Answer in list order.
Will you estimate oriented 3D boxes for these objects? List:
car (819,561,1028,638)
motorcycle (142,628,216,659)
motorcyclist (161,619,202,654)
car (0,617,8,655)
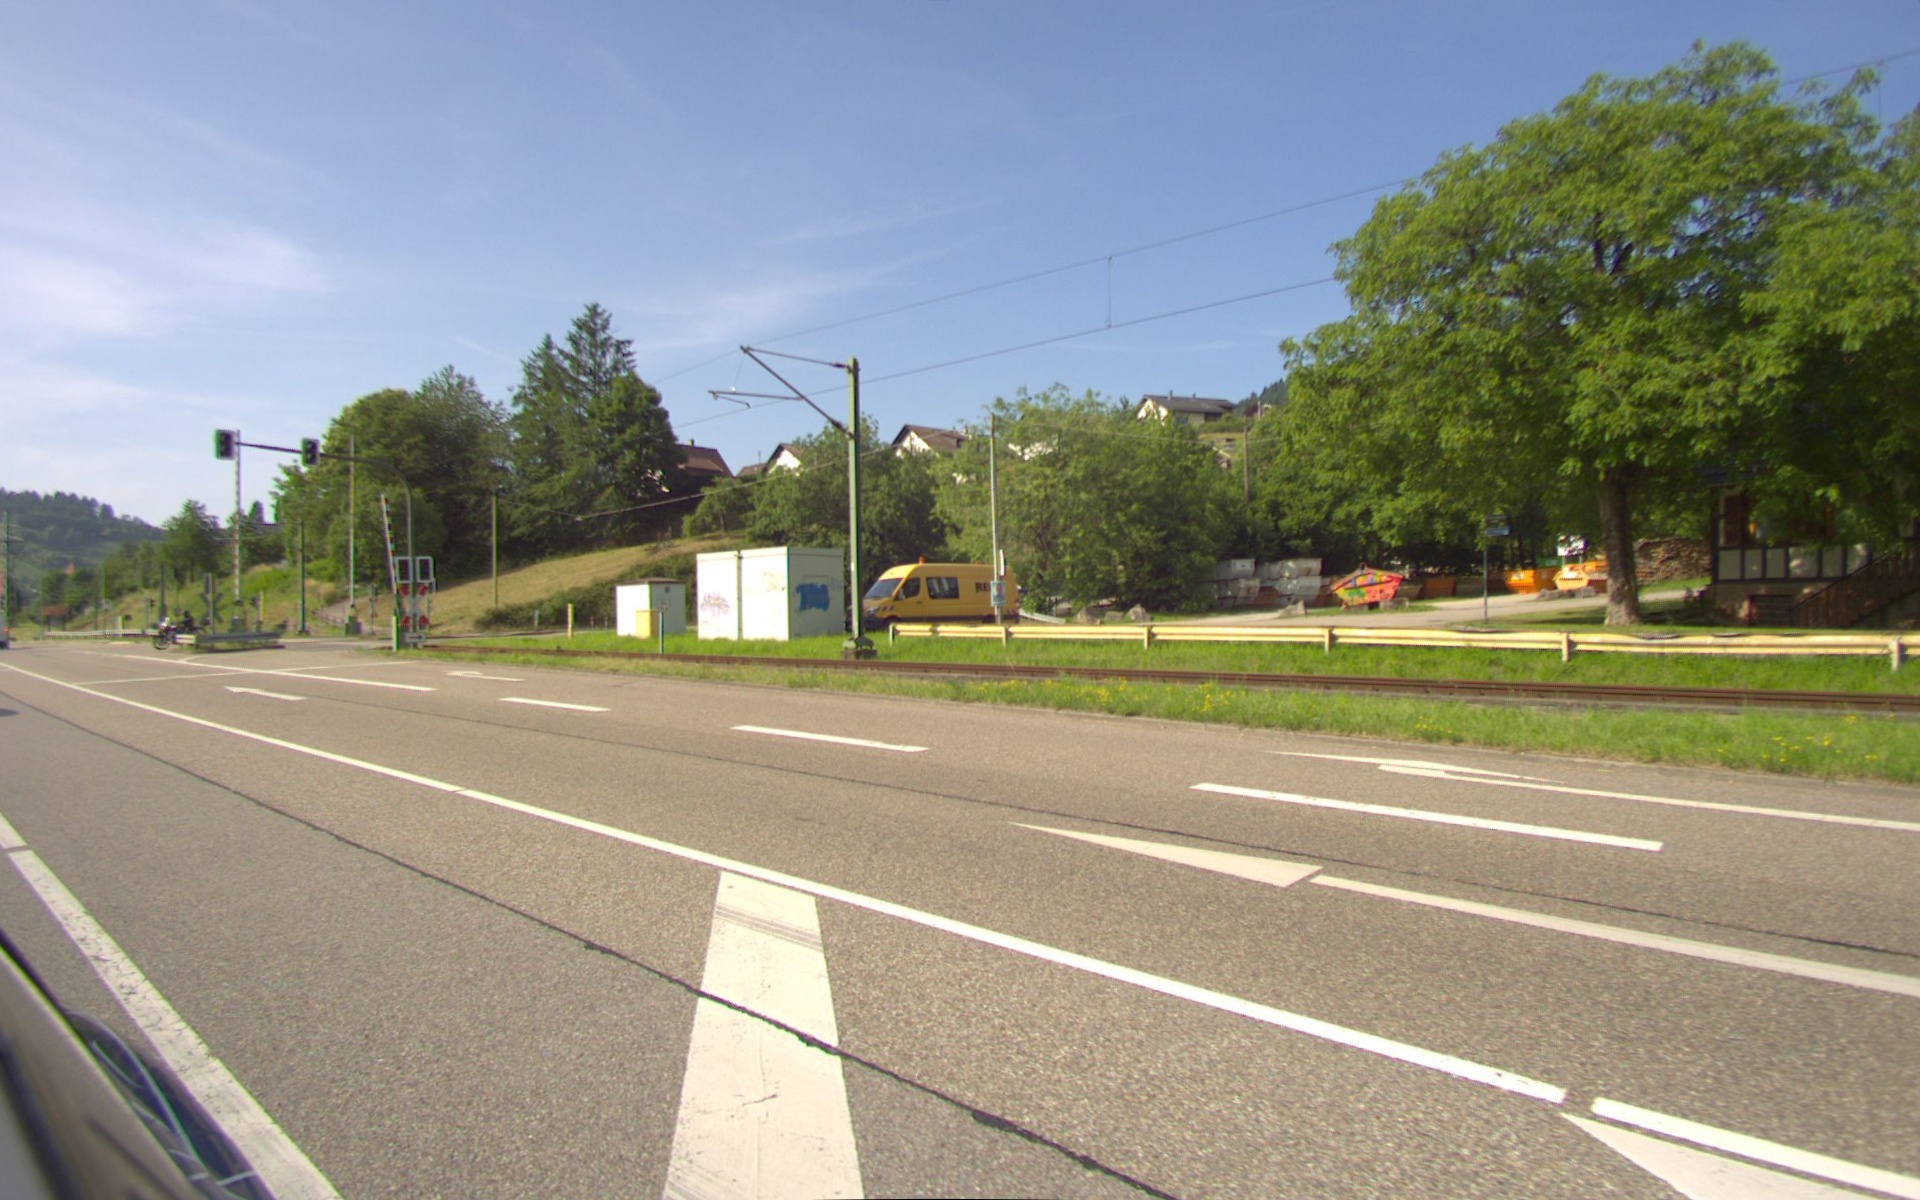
[{"bbox_3d":[-1.205,-0.079,35.962,6.974,2.475,2.954,-2,0,-39],"label":"car"},{"bbox_3d":[-36.750,2.051,47.667,1.000,1.278,2.569,-2,1,28],"label":"motorcycle"},{"bbox_3d":[-36.719,1.704,47.747,0.987,1.555,1.175,-2,1,28],"label":"motorcyclist"},{"bbox_3d":[-64.903,2.451,67.220,5.228,2.455,2.096,-2,0,43],"label":"car"}]
